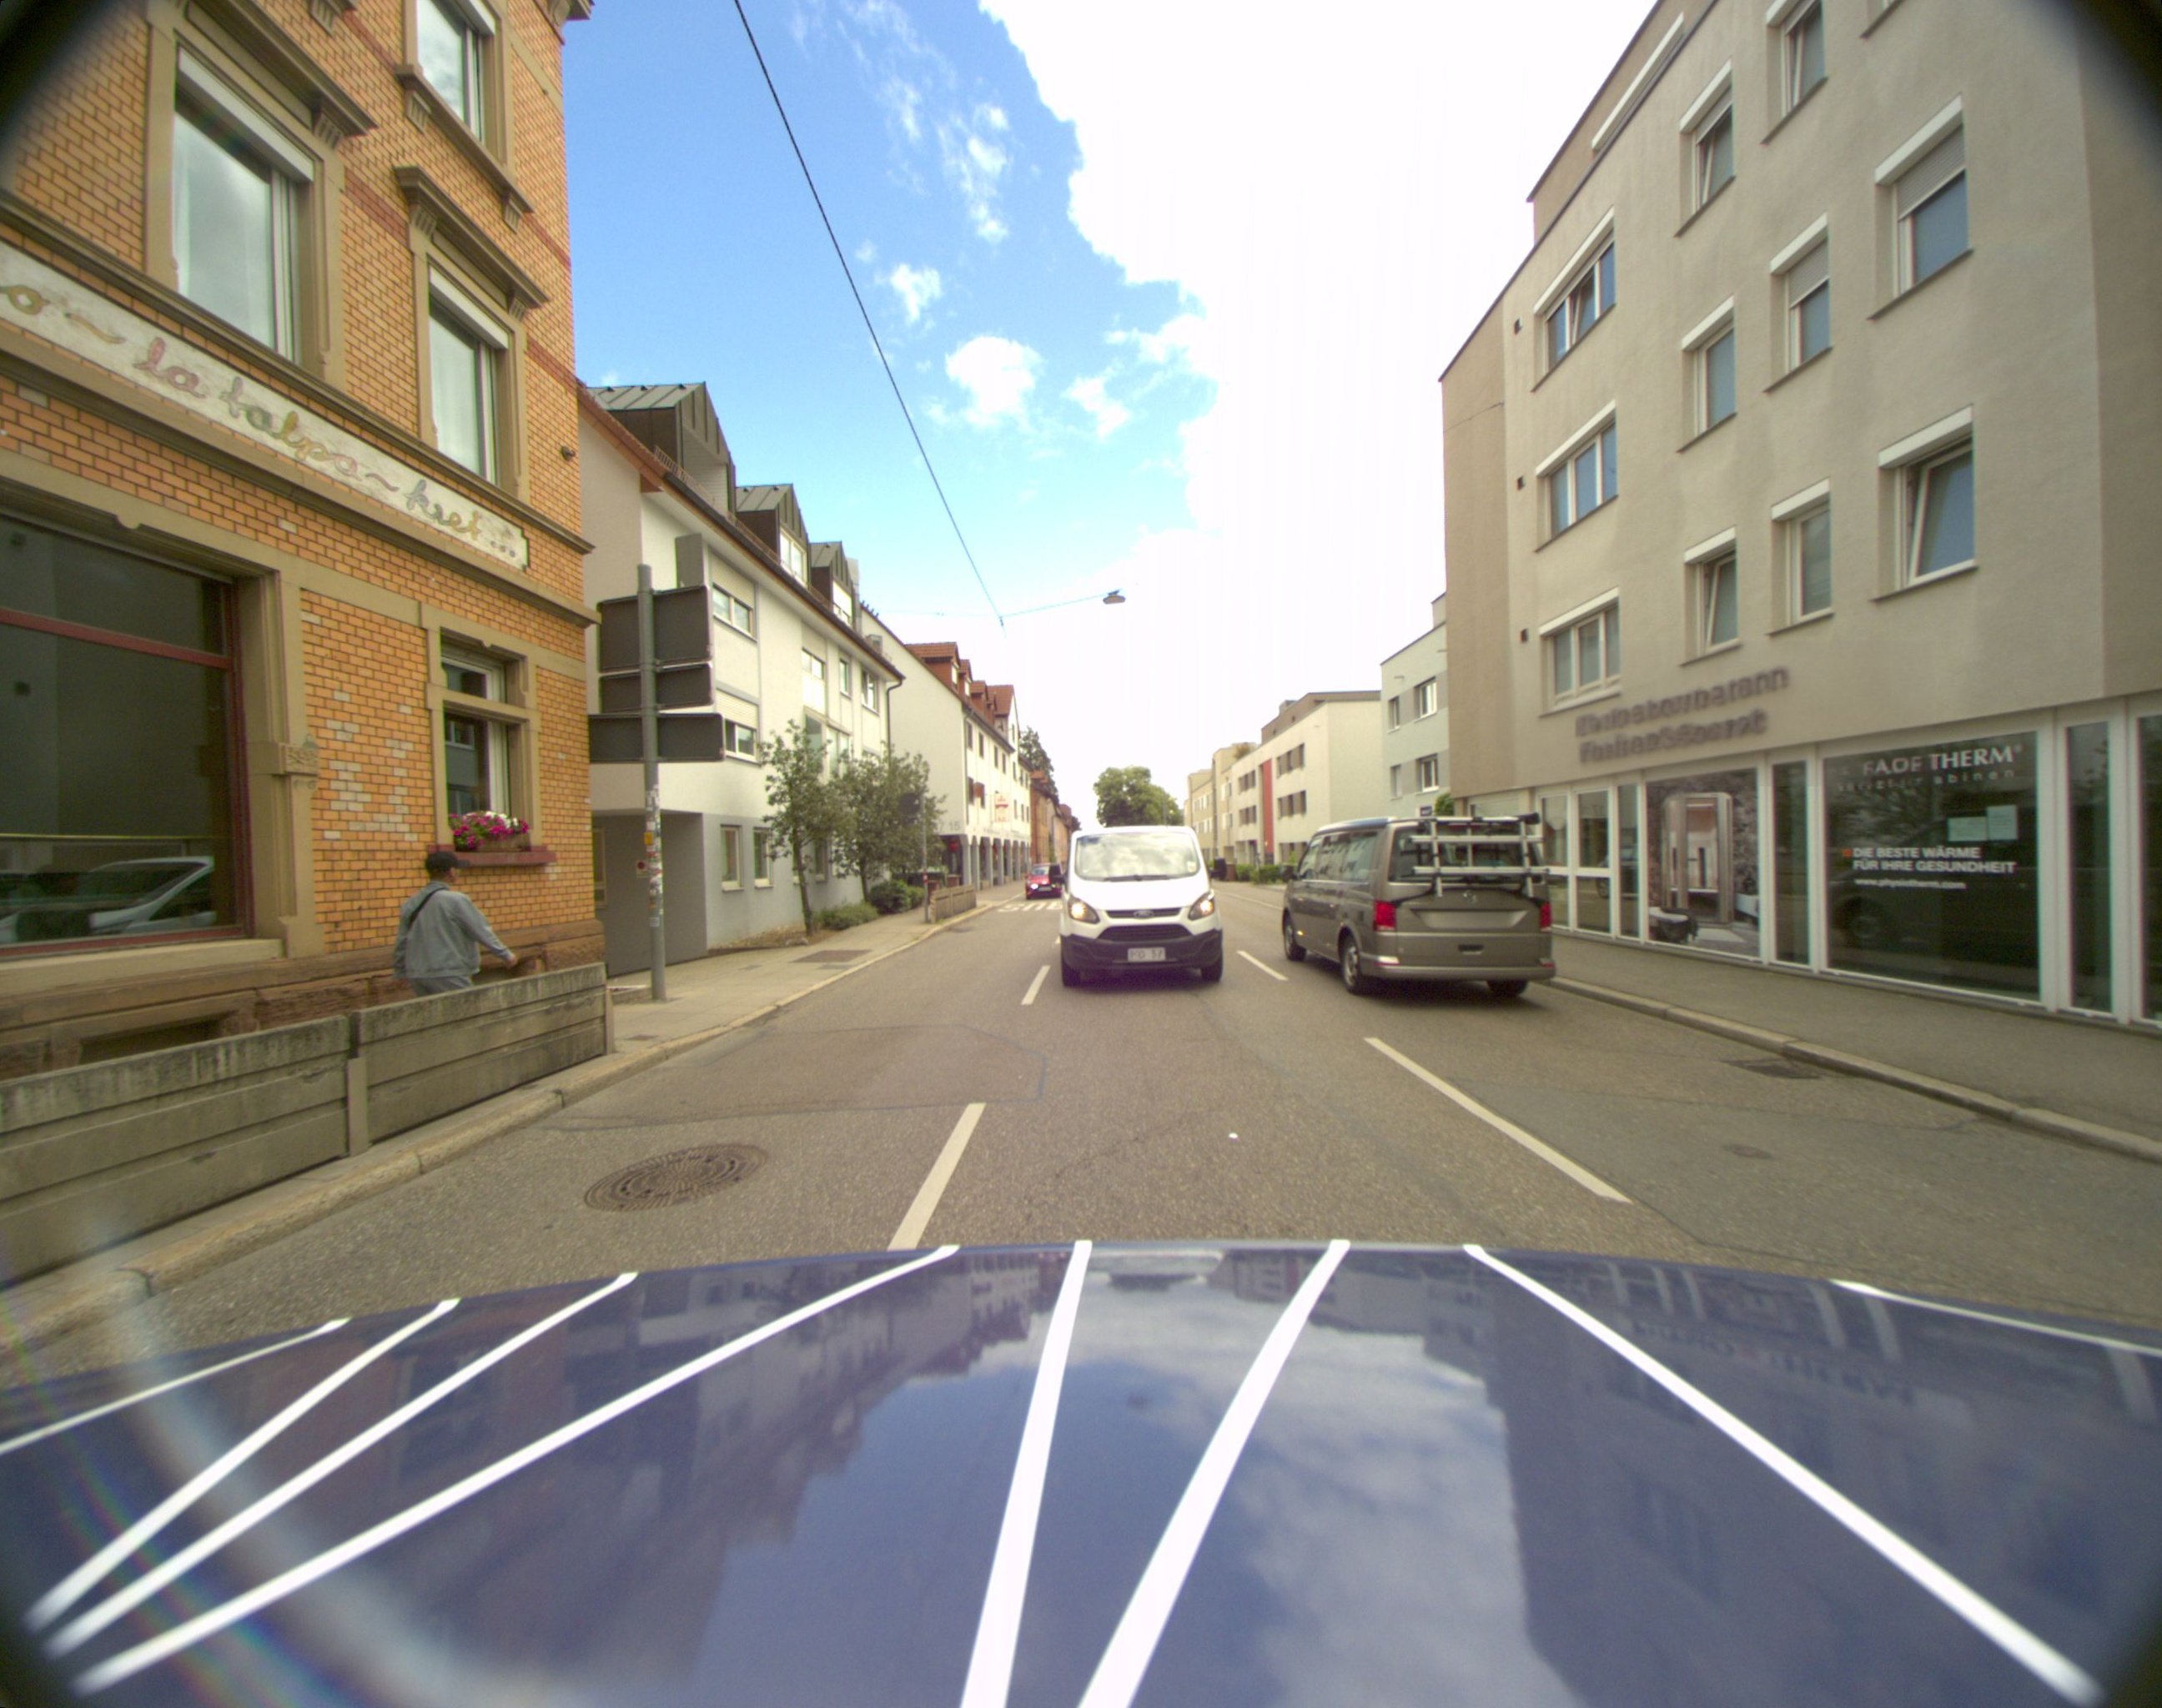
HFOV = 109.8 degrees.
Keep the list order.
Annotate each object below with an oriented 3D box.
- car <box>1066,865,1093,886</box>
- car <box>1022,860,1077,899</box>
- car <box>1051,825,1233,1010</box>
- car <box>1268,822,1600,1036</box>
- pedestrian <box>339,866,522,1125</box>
[{"bbox_3d":[-0.108,1.808,65.059,1.998,1.537,4.571,-4,0,3],"label":"car"},{"bbox_3d":[-1.308,1.062,32.940,1.702,1.444,4.001,-4,0,6],"label":"car"},{"bbox_3d":[0.675,0.699,10.885,1.965,1.986,5.087,-1,0,0],"label":"car"},{"bbox_3d":[3.870,0.700,9.451,1.964,1.986,4.761,0,0,1],"label":"car"},{"bbox_3d":[-4.613,0.956,5.433,0.690,1.721,0.650,-1,1,0],"label":"pedestrian"}]
